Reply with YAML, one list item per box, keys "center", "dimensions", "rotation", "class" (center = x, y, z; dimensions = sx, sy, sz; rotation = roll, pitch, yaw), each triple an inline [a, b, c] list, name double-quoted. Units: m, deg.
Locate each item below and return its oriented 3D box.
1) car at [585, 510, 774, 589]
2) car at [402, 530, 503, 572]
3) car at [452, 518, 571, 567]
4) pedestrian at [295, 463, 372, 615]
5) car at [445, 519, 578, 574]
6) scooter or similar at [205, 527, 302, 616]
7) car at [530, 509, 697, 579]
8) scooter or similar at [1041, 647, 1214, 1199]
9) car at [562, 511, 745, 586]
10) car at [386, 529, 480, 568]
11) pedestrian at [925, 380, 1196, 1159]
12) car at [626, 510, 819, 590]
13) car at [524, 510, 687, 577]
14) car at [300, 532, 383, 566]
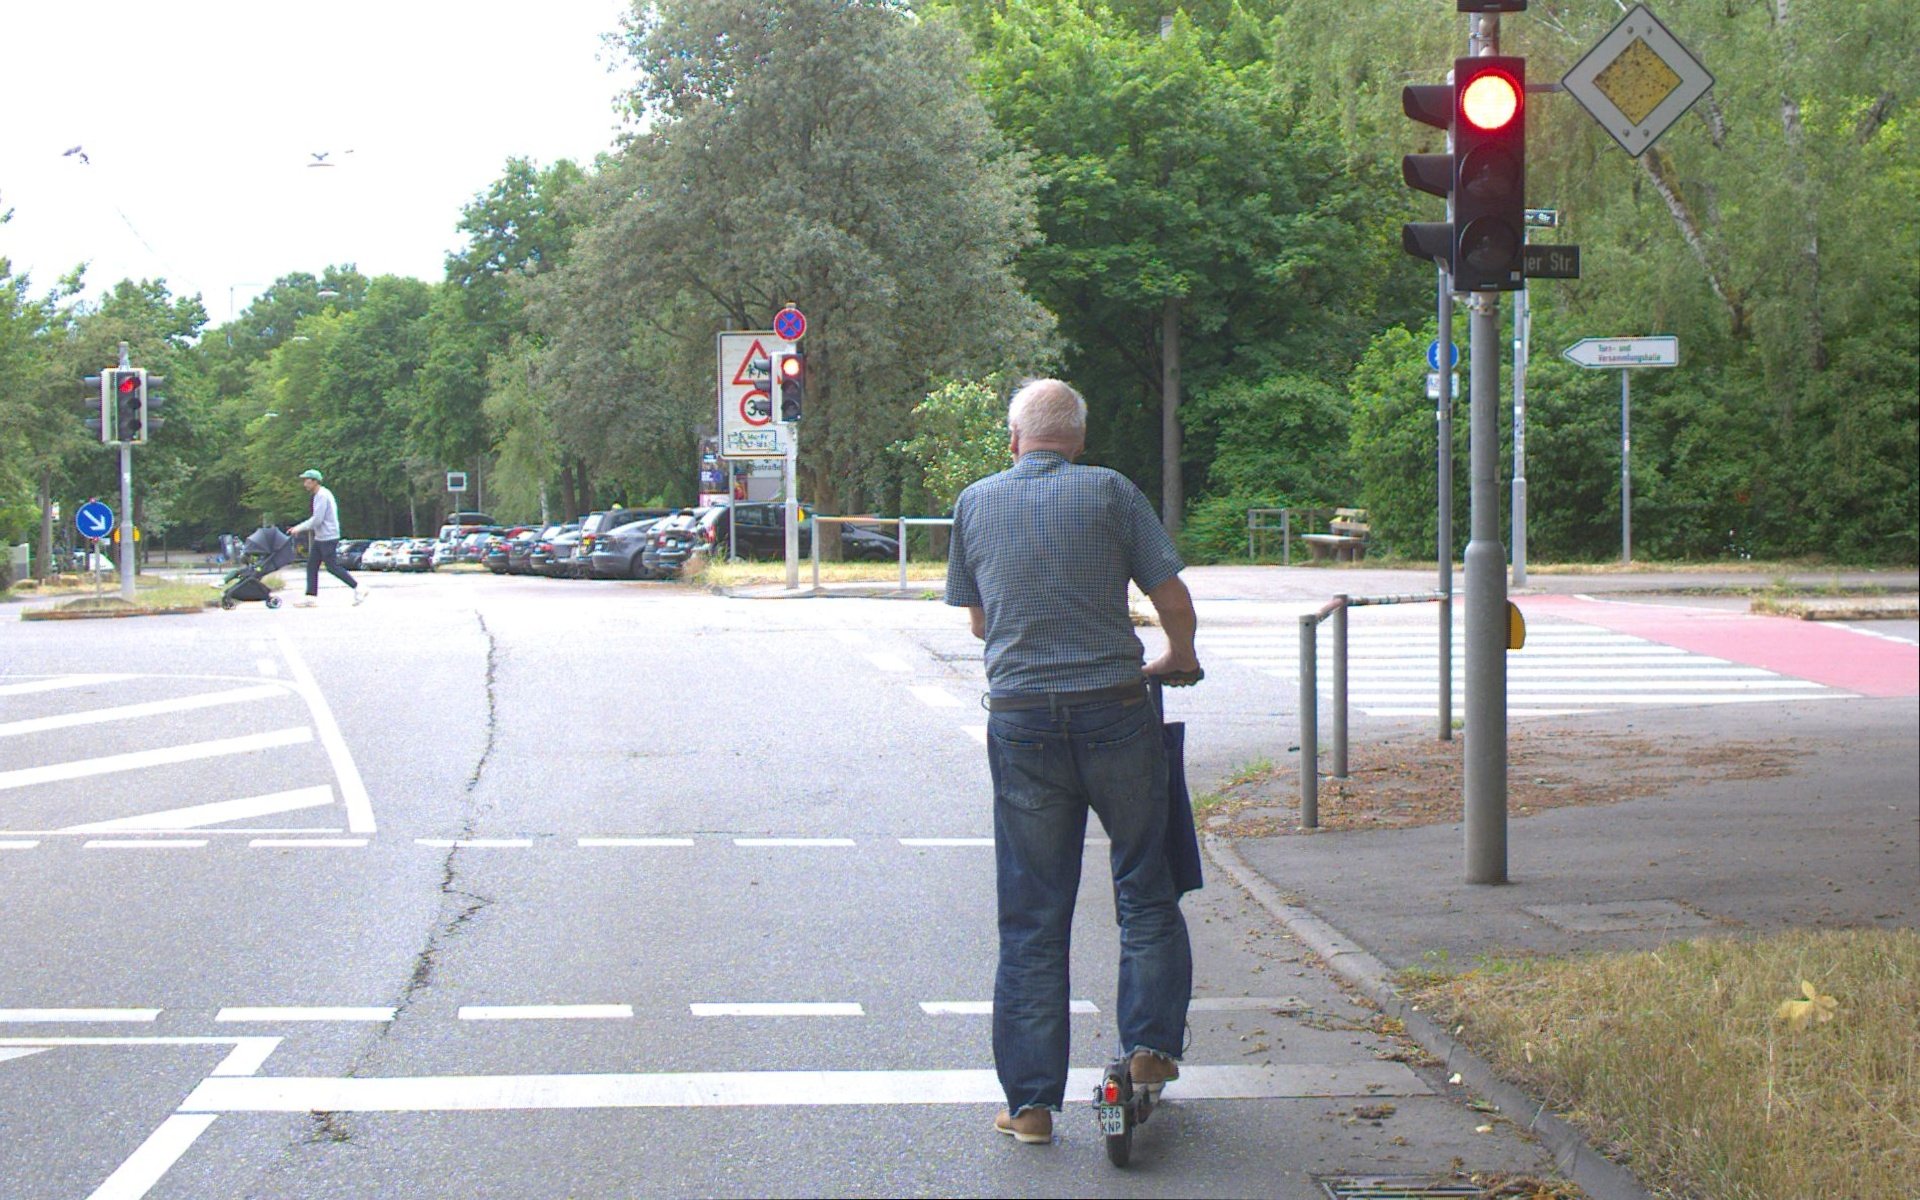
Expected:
- center: [-6.324, -1.150, 77.429]
  dimensions: [3.841, 1.605, 1.729]
  rotation: [-3, 2, -24]
  class: "car"
- center: [-21.168, -2.071, 143.403]
  dimensions: [3.840, 1.605, 1.729]
  rotation: [-3, 2, -23]
  class: "car"
- center: [-15.973, -2.062, 122.537]
  dimensions: [3.840, 1.605, 1.729]
  rotation: [-3, 2, -23]
  class: "car"
- center: [-7.777, -0.760, 42.722]
  dimensions: [0.884, 1.856, 0.574]
  rotation: [-1, 1, -9]
  class: "pedestrian"
- center: [-14.298, -1.727, 109.575]
  dimensions: [3.840, 1.605, 1.729]
  rotation: [-3, 2, -23]
  class: "car"
- center: [-8.748, -0.356, 42.600]
  dimensions: [1.107, 1.077, 0.578]
  rotation: [-1, 1, -6]
  class: "scooter or similar"
- center: [-8.796, -1.432, 87.311]
  dimensions: [3.840, 1.605, 1.729]
  rotation: [-3, 2, -23]
  class: "car"
- center: [0.401, 0.723, 7.921]
  dimensions: [0.282, 1.174, 1.177]
  rotation: [-1, 2, 8]
  class: "scooter or similar"
- center: [-7.131, -1.206, 79.968]
  dimensions: [3.840, 1.605, 1.729]
  rotation: [-3, 2, -23]
  class: "car"
- center: [-23.715, -2.317, 154.701]
  dimensions: [3.840, 1.605, 1.729]
  rotation: [-3, 2, -23]
  class: "car"
- center: [0.247, 0.393, 8.217]
  dimensions: [0.573, 1.807, 0.420]
  rotation: [-1, 1, 8]
  class: "pedestrian"
- center: [-5.219, -1.115, 75.461]
  dimensions: [3.840, 1.605, 1.729]
  rotation: [-3, 2, -21]
  class: "car"
- center: [-9.241, -1.482, 89.722]
  dimensions: [3.840, 1.605, 1.729]
  rotation: [-3, 2, -23]
  class: "car"
- center: [-31.715, -2.633, 176.246]
  dimensions: [3.840, 1.605, 1.729]
  rotation: [-3, 2, -23]
  class: "car"
